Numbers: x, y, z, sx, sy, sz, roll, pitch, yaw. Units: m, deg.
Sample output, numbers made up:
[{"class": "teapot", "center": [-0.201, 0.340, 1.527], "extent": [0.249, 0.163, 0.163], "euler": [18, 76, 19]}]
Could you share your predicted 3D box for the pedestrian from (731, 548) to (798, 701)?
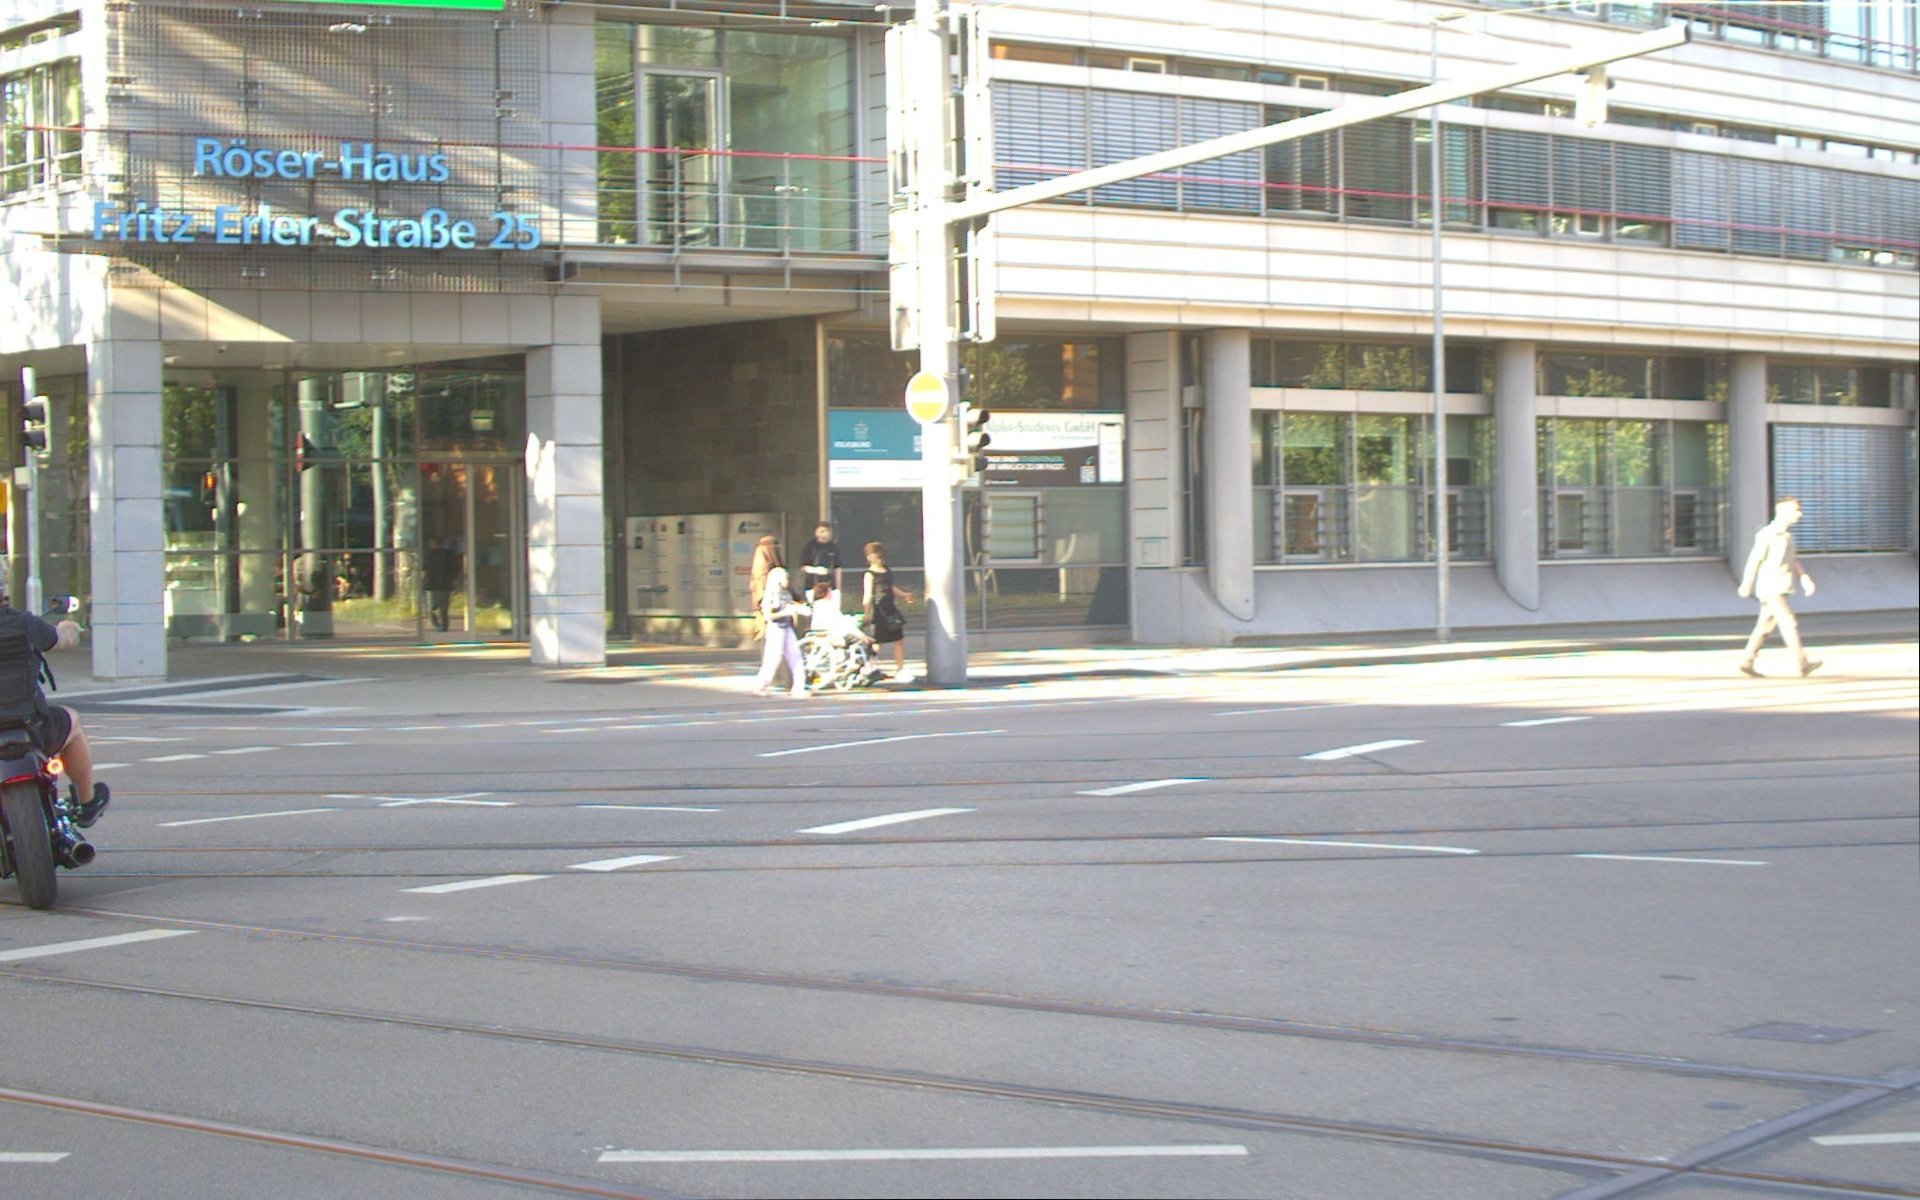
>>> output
[{"class": "pedestrian", "center": [-2.192, 0.270, 38.575], "extent": [0.636, 1.702, 0.581], "euler": [0, 0, 8]}]

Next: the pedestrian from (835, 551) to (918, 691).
[{"class": "pedestrian", "center": [-0.965, 0.239, 39.856], "extent": [0.722, 1.612, 0.654], "euler": [0, 0, 28]}]

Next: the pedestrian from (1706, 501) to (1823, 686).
[{"class": "pedestrian", "center": [8.052, -0.057, 34.396], "extent": [0.884, 1.817, 0.675], "euler": [-2, -1, 42]}]

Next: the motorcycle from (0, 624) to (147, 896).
[{"class": "motorcycle", "center": [-4.316, 0.680, 15.535], "extent": [1.005, 1.121, 2.324], "euler": [0, 0, -19]}]

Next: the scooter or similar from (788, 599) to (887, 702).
[{"class": "scooter or similar", "center": [-1.365, 0.563, 38.467], "extent": [1.015, 1.125, 0.550], "euler": [0, 0, 8]}]

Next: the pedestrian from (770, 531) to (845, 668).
[{"class": "pedestrian", "center": [-1.917, -0.009, 43.289], "extent": [0.645, 1.709, 0.688], "euler": [0, 0, 39]}]

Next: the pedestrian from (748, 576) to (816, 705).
[{"class": "pedestrian", "center": [-1.944, 0.436, 37.576], "extent": [0.636, 1.397, 0.546], "euler": [0, 0, 8]}]

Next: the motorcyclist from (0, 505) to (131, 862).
[{"class": "motorcyclist", "center": [-4.330, 0.348, 15.490], "extent": [1.022, 1.547, 1.287], "euler": [0, 1, -19]}]
